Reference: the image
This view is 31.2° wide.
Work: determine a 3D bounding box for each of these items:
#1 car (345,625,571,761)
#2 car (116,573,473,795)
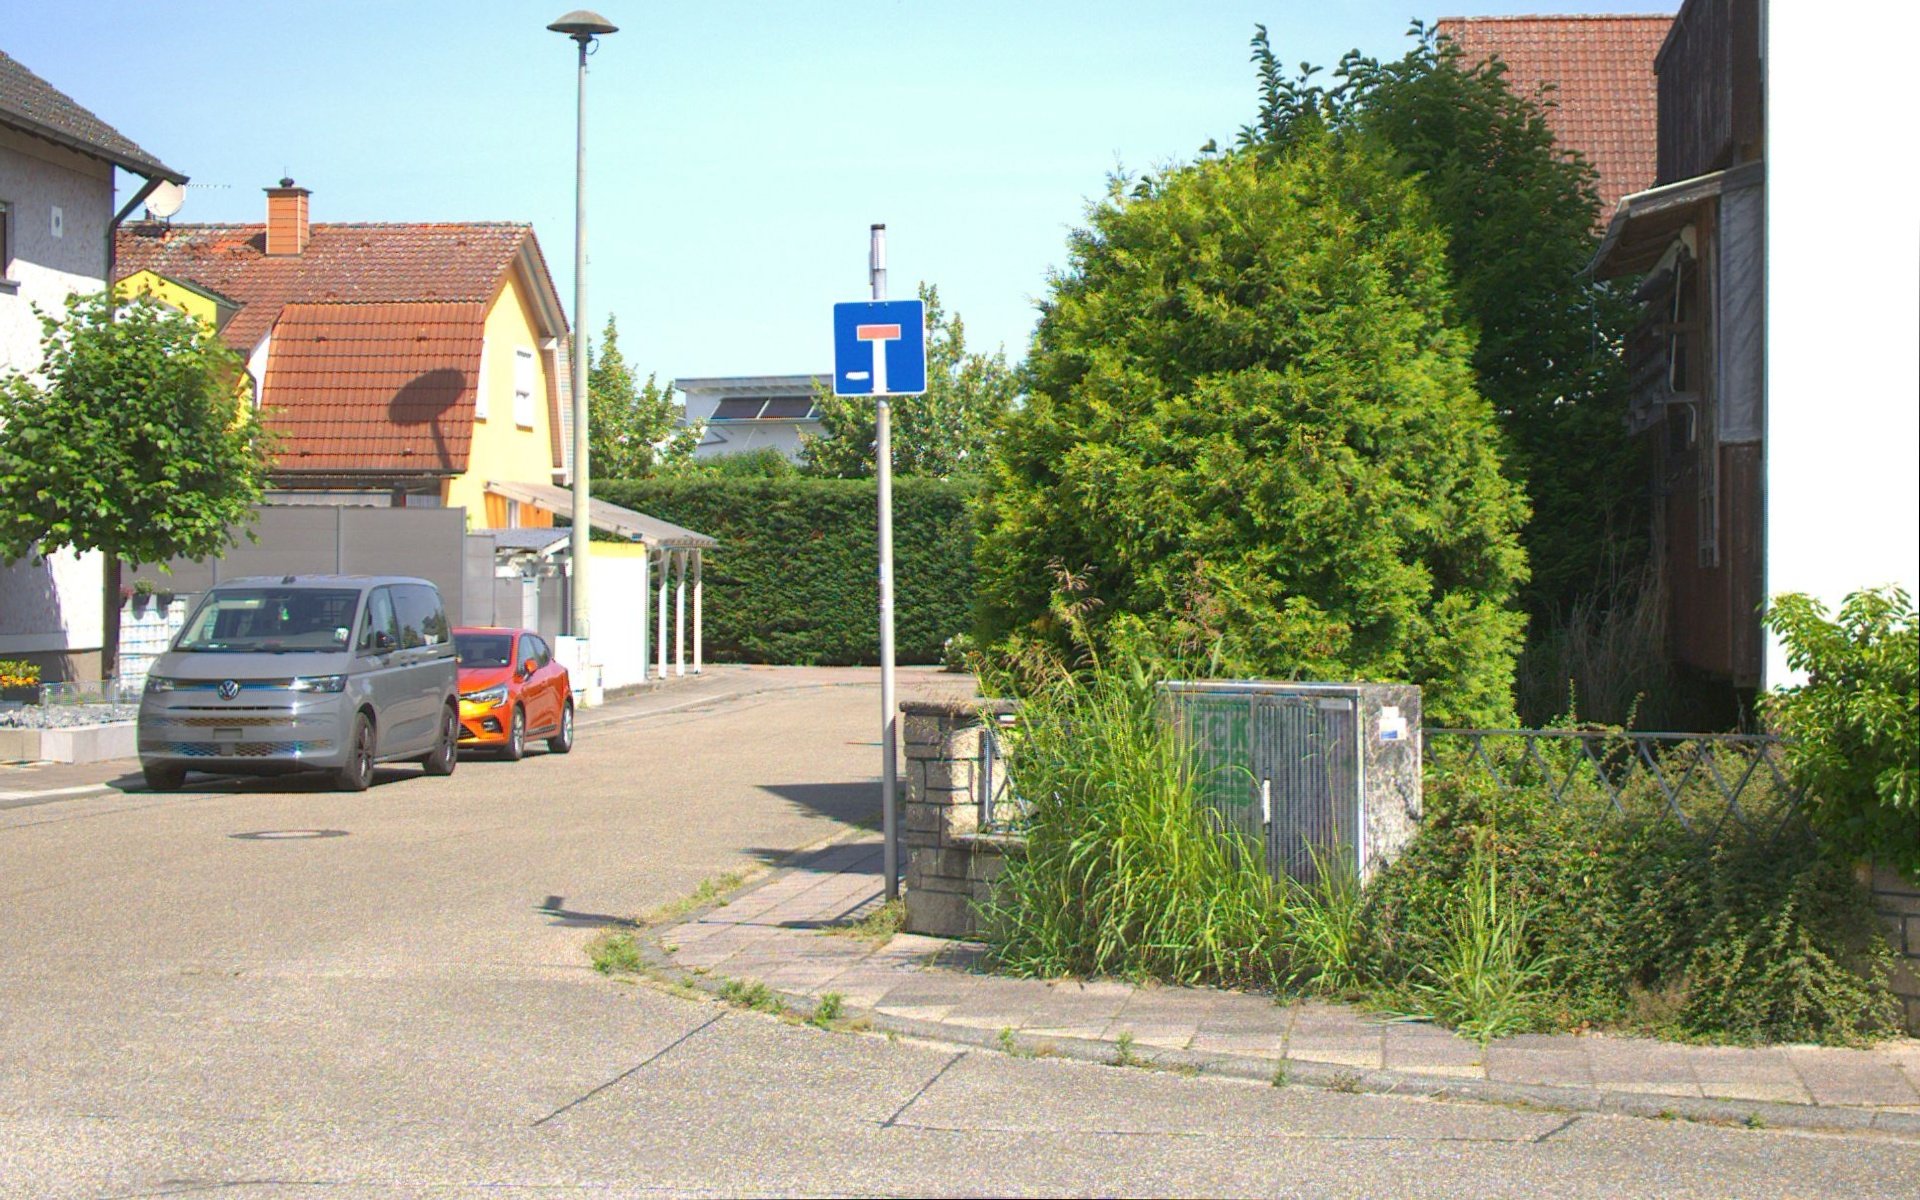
[{"bbox_3d":[-5.440,0.980,37.687,1.652,1.360,3.778,0,0,5],"label":"car"},{"bbox_3d":[-5.940,0.690,31.213,1.901,1.863,4.370,0,0,7],"label":"car"}]
